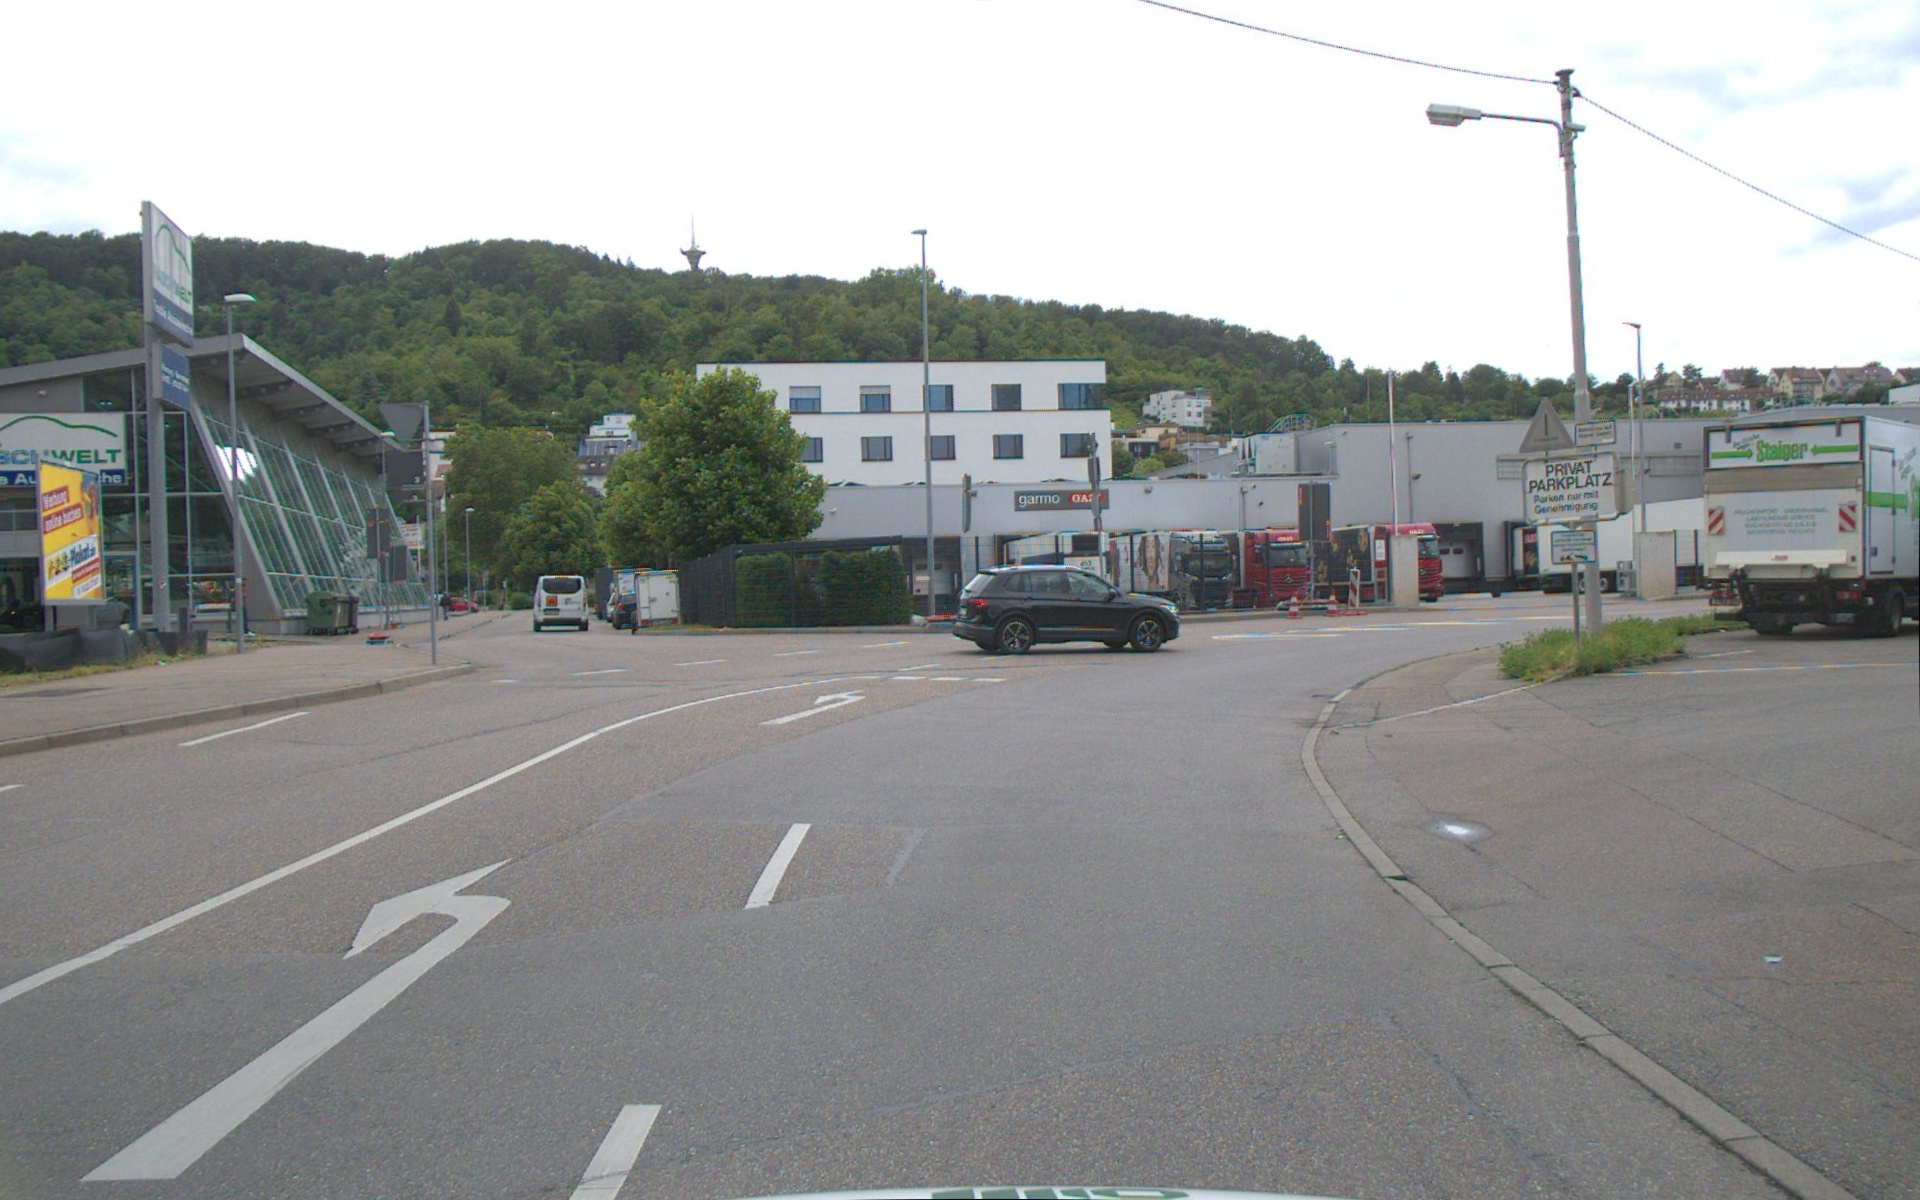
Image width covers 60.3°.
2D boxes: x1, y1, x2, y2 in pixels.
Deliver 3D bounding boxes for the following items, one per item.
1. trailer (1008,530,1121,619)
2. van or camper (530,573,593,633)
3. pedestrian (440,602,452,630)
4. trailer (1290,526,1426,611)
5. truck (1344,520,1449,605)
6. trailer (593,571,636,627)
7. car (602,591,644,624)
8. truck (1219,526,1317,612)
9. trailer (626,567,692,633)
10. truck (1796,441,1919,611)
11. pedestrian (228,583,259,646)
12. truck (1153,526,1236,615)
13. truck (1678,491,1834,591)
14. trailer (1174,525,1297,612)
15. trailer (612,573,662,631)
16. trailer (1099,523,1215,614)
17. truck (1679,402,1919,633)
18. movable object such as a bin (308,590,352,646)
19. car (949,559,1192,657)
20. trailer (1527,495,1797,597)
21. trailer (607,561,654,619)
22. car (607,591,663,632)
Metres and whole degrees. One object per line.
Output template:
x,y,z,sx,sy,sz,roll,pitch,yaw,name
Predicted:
5.173,-1.196,84.448,3.025,4.149,11.381,-2,0,-10,trailer
-15.058,0.151,62.374,2.065,2.119,4.186,-2,0,-17,van or camper
-31.044,0.968,99.911,0.617,1.702,0.755,-2,-1,-16,pedestrian
20.842,-1.543,87.524,2.733,4.149,10.968,-2,0,-10,trailer
21.643,-1.788,82.314,2.742,3.997,5.911,-2,0,-10,truck
-19.415,-0.058,92.900,2.239,3.004,3.987,-2,0,-13,trailer
-16.784,0.368,82.536,1.958,1.534,3.989,-2,1,-11,car
15.019,-1.461,81.077,2.742,3.997,5.911,-2,0,-10,truck
-9.933,-0.021,54.389,1.959,2.049,3.987,-2,1,-13,trailer
23.231,-1.713,40.094,3.019,3.694,8.551,-2,0,43,truck
-22.309,0.448,51.487,0.815,1.900,0.713,-3,0,-24,pedestrian
11.221,-1.381,79.434,2.742,4.110,4.155,-2,0,-10,truck
35.247,-2.554,73.339,2.910,4.090,5.523,-2,0,-44,truck
14.166,-1.509,86.231,2.733,4.149,10.968,-2,0,-10,trailer
-14.034,0.077,71.783,1.959,2.384,3.987,-2,1,-13,trailer
10.054,-1.488,86.008,2.733,4.376,11.154,-2,0,-10,trailer
16.447,-1.381,30.678,3.019,3.694,8.551,-2,0,43,truck
-20.786,0.581,54.565,1.122,1.787,1.056,-2,-1,-11,movable object such as a bin
2.084,0.131,31.735,4.280,1.713,1.994,-1,0,-12,car
33.055,-2.412,79.067,2.983,4.256,13.929,-2,0,-21,trailer
-22.983,-0.706,115.295,3.015,3.825,4.918,-2,0,-13,trailer
-13.046,0.447,66.301,1.960,1.534,4.166,-2,1,-14,car
